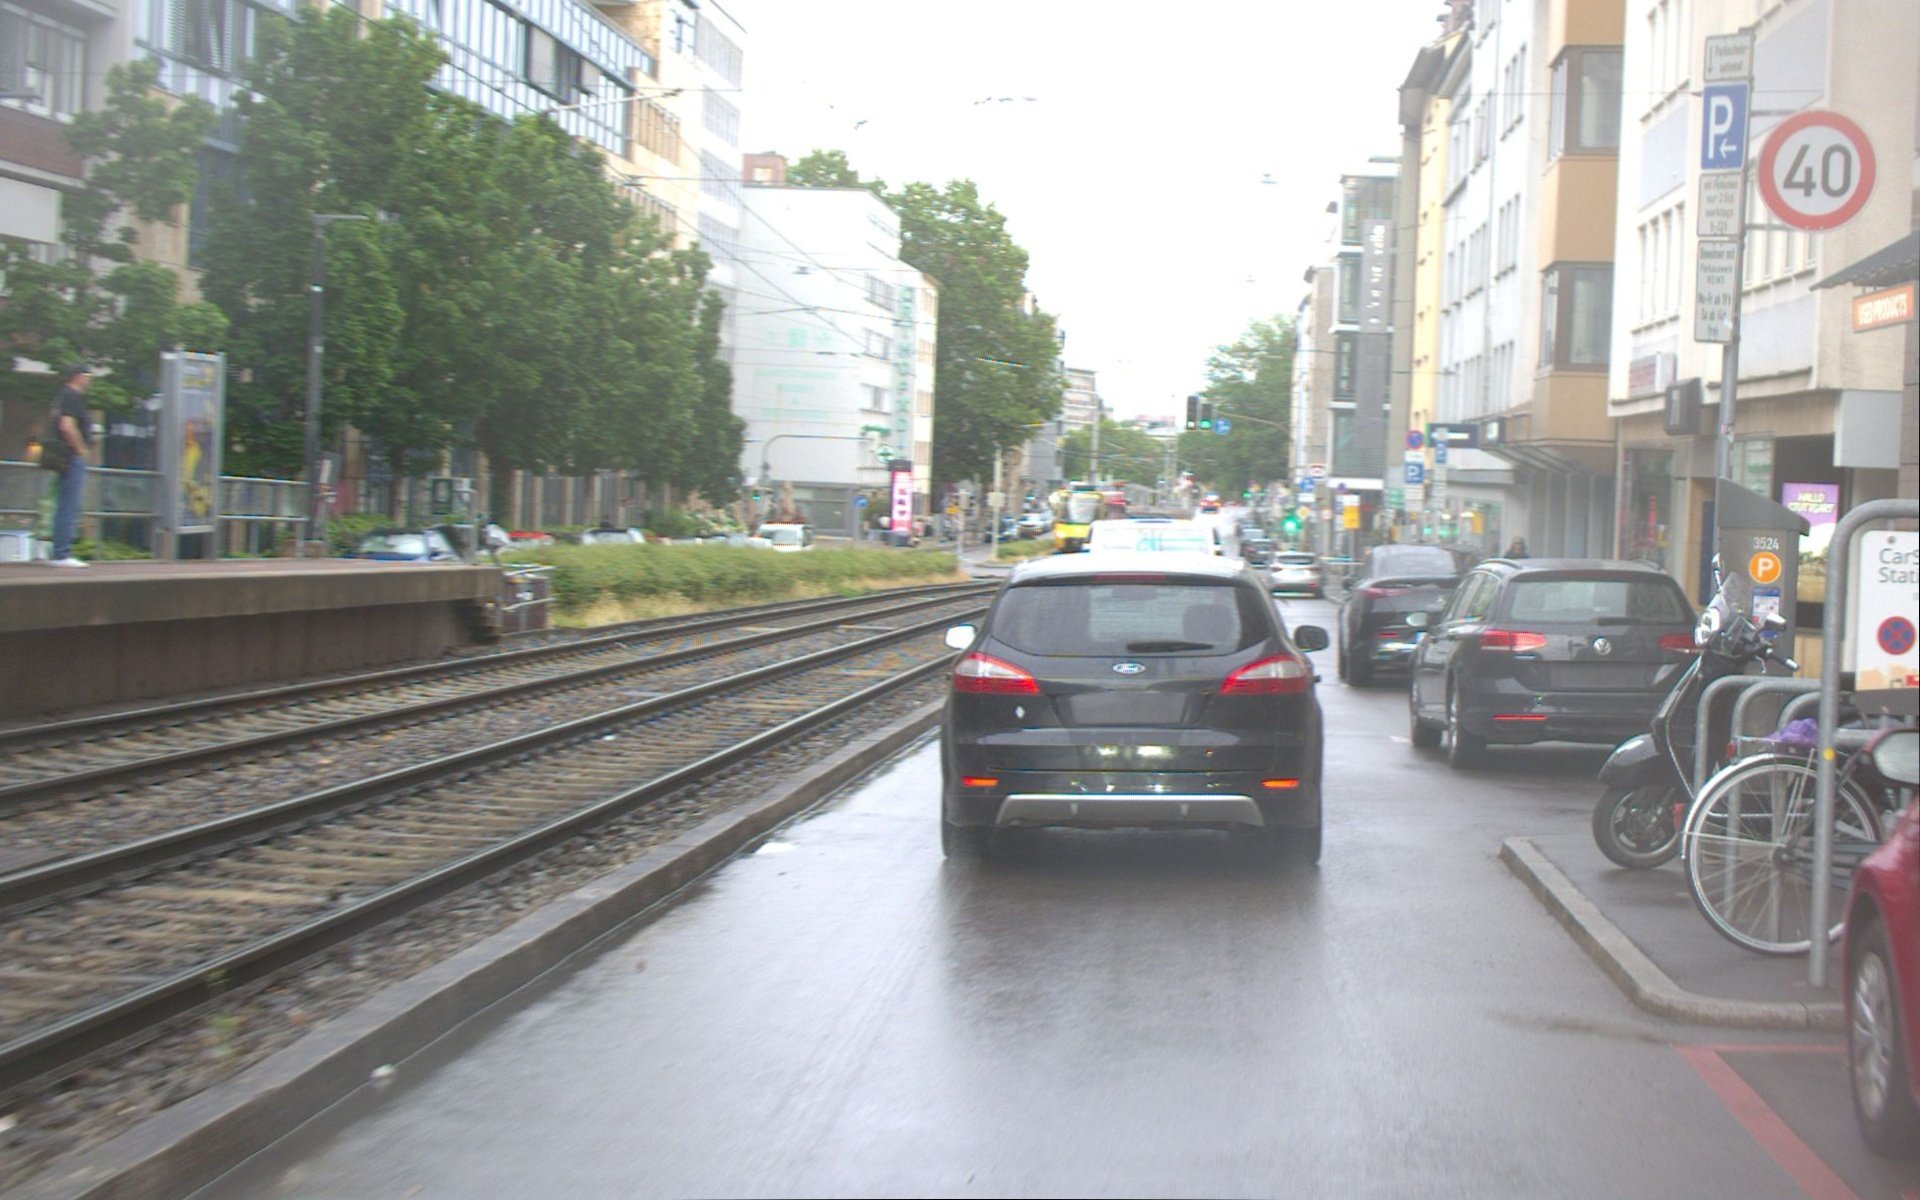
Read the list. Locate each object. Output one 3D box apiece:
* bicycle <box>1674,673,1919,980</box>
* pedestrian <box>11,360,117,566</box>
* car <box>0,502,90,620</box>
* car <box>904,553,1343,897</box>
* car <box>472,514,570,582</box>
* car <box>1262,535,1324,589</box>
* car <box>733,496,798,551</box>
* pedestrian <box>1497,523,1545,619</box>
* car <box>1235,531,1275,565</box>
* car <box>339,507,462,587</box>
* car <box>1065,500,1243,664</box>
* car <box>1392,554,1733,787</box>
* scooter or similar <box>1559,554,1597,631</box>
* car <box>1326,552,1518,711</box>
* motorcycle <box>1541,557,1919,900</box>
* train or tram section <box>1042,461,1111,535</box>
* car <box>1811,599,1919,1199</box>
[{"bbox_3d":[3.466,0.804,12.118,1.787,1.027,0.462,2,0,4],"label":"bicycle"},{"bbox_3d":[-7.993,-1.215,30.686,0.655,1.795,0.850,2,1,2],"label":"pedestrian"},{"bbox_3d":[-12.377,-0.528,43.526,1.568,1.431,4.178,2,1,1],"label":"car"},{"bbox_3d":[0.861,0.536,17.013,1.907,1.457,3.444,2,1,5],"label":"car"},{"bbox_3d":[-9.802,-1.181,76.988,1.568,1.431,4.178,2,1,1],"label":"car"},{"bbox_3d":[10.722,-1.217,110.898,1.907,1.627,4.573,2,1,5],"label":"car"},{"bbox_3d":[-6.880,-2.697,121.883,1.906,1.858,4.574,2,1,1],"label":"car"},{"bbox_3d":[9.826,-0.515,60.255,0.695,1.646,0.965,2,1,3],"label":"pedestrian"},{"bbox_3d":[14.855,-2.605,172.827,1.907,1.627,4.573,2,1,5],"label":"car"},{"bbox_3d":[-10.650,-1.023,65.675,1.568,1.431,4.178,2,1,1],"label":"car"},{"bbox_3d":[2.460,-0.229,42.646,1.907,1.858,4.573,2,1,6],"label":"car"},{"bbox_3d":[4.289,0.435,25.135,1.774,1.463,4.609,2,1,2],"label":"car"},{"bbox_3d":[8.866,-0.112,49.338,0.209,1.079,1.234,2,1,-4],"label":"scooter or similar"},{"bbox_3d":[5.243,0.302,39.569,1.807,1.626,5.169,2,1,4],"label":"car"},{"bbox_3d":[3.672,0.542,14.996,2.086,1.402,0.798,2,1,23],"label":"motorcycle"},{"bbox_3d":[6.218,-5.414,184.523,3.513,3.764,11.331,2,1,2],"label":"train or tram section"},{"bbox_3d":[3.009,0.744,7.239,1.699,1.457,3.867,0,1,4],"label":"car"}]
